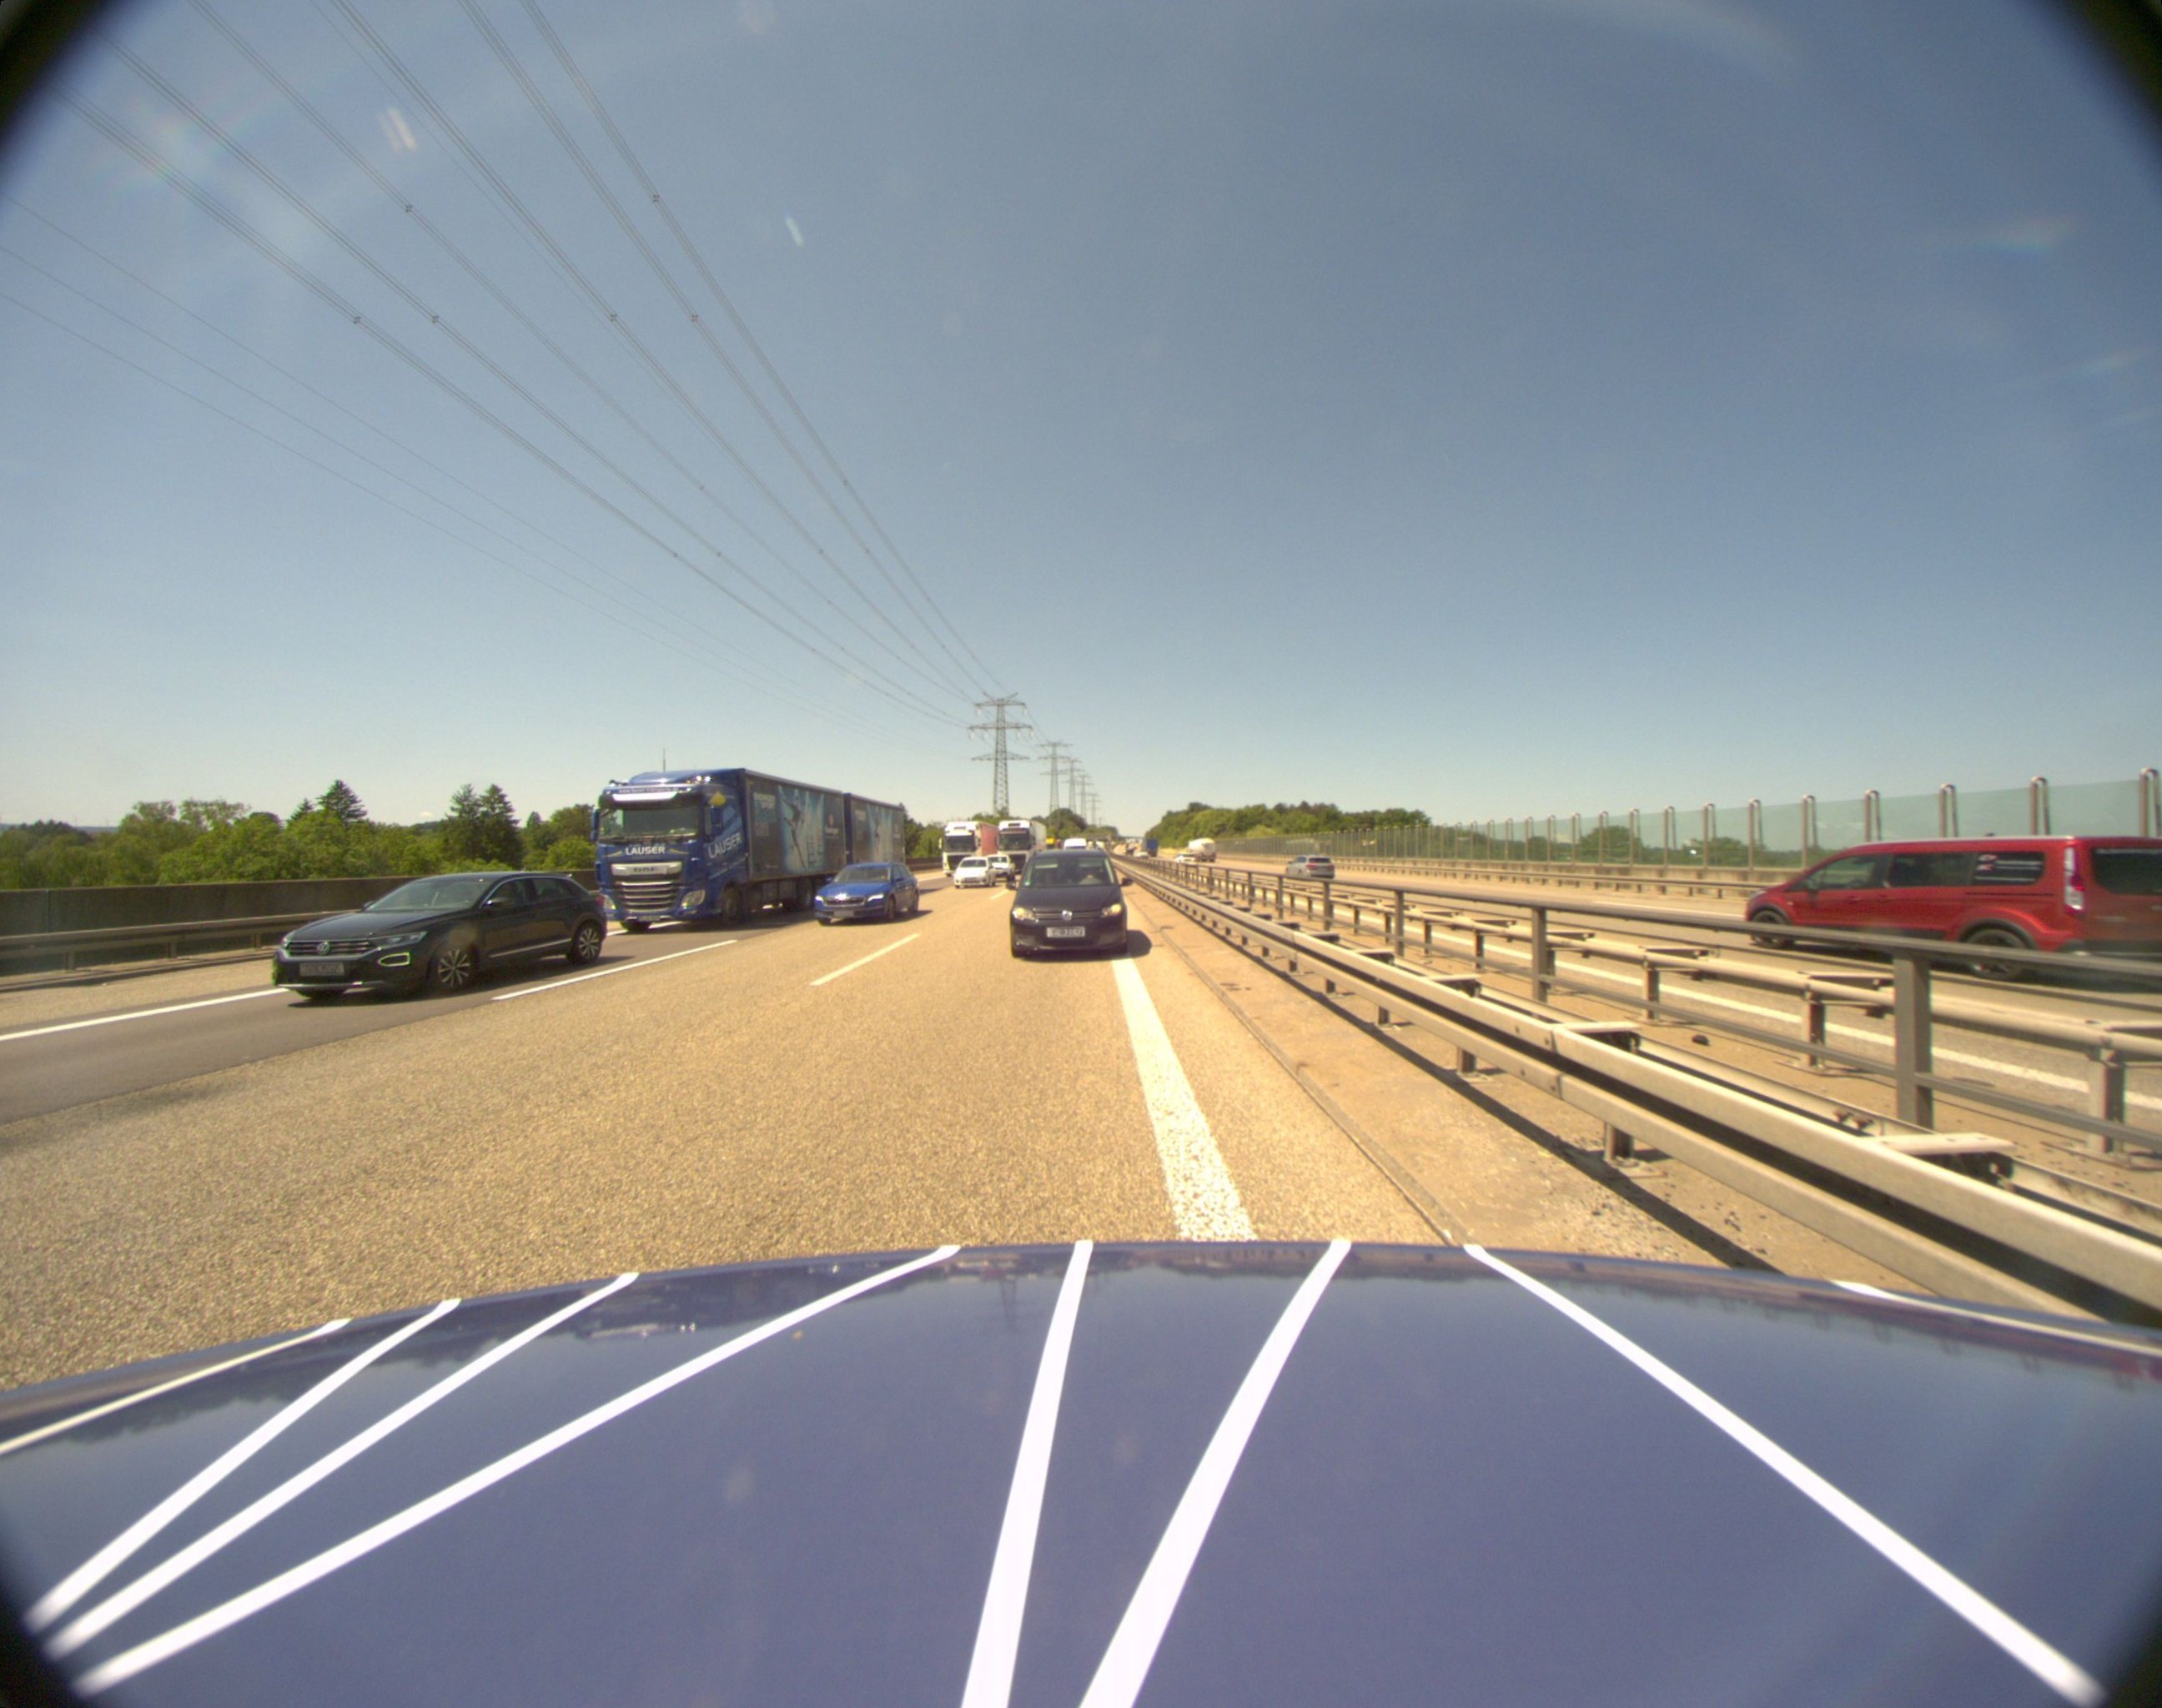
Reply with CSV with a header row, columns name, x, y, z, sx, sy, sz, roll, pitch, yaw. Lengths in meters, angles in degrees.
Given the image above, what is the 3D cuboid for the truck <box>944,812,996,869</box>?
name,x,y,z,sx,sy,sz,roll,pitch,yaw
truck,-8.422,-1.025,58.463,2.608,3.965,8.263,-2,1,0

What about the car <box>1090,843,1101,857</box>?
name,x,y,z,sx,sy,sz,roll,pitch,yaw
car,2.276,-0.617,118.131,1.704,2.116,3.999,-2,1,1

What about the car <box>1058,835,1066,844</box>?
name,x,y,z,sx,sy,sz,roll,pitch,yaw
car,-4.715,-3.592,185.562,1.704,2.116,3.999,2,1,1

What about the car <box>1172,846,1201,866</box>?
name,x,y,z,sx,sy,sz,roll,pitch,yaw
car,8.802,0.163,63.645,1.876,1.521,3.608,4,1,0

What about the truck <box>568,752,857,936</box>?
name,x,y,z,sx,sy,sz,roll,pitch,yaw
truck,-9.605,-0.304,21.862,2.859,3.927,10.393,-2,1,1

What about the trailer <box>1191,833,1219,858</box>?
name,x,y,z,sx,sy,sz,roll,pitch,yaw
trailer,18.287,-1.271,112.894,2.505,3.520,10.901,0,1,1

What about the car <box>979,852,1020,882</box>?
name,x,y,z,sx,sy,sz,roll,pitch,yaw
car,-4.591,0.719,43.309,1.712,1.501,4.144,-2,1,1

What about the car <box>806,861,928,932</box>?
name,x,y,z,sx,sy,sz,roll,pitch,yaw
car,-5.353,0.986,19.635,1.712,1.443,4.563,-2,1,1

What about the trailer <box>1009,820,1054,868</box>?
name,x,y,z,sx,sy,sz,roll,pitch,yaw
trailer,-4.190,-0.914,66.682,2.822,3.830,9.085,-2,1,2

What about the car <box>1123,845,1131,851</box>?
name,x,y,z,sx,sy,sz,roll,pitch,yaw
car,13.340,-1.779,221.017,1.886,1.543,4.188,-2,1,-1

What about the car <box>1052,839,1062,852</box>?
name,x,y,z,sx,sy,sz,roll,pitch,yaw
car,-5.009,-1.789,158.336,1.704,2.525,3.999,2,1,1

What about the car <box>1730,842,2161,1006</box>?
name,x,y,z,sx,sy,sz,roll,pitch,yaw
car,12.208,0.738,10.815,1.844,1.812,4.746,0,1,0

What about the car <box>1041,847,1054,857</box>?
name,x,y,z,sx,sy,sz,roll,pitch,yaw
car,-5.748,-0.384,129.699,1.924,1.501,3.996,-2,1,1

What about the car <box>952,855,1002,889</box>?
name,x,y,z,sx,sy,sz,roll,pitch,yaw
car,-5.019,0.830,37.171,1.712,1.443,4.144,-2,1,1

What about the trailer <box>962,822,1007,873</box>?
name,x,y,z,sx,sy,sz,roll,pitch,yaw
trailer,-8.390,-0.606,67.195,2.608,4.094,9.083,-2,1,0

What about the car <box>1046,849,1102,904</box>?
name,x,y,z,sx,sy,sz,roll,pitch,yaw
car,-0.201,0.706,26.147,1.713,1.669,3.931,-2,1,1

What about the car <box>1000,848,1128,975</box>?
name,x,y,z,sx,sy,sz,roll,pitch,yaw
car,-0.216,0.794,12.552,1.713,1.669,3.931,-2,1,1

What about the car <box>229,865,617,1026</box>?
name,x,y,z,sx,sy,sz,roll,pitch,yaw
car,-8.717,1.068,10.671,1.712,1.645,4.117,-2,1,1

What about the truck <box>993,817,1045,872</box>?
name,x,y,z,sx,sy,sz,roll,pitch,yaw
truck,-4.585,-0.773,57.988,2.849,3.804,8.264,-2,1,2

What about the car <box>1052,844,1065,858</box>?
name,x,y,z,sx,sy,sz,roll,pitch,yaw
car,-3.319,-0.459,113.061,1.704,2.116,3.999,2,1,1

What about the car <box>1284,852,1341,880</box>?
name,x,y,z,sx,sy,sz,roll,pitch,yaw
car,12.843,0.621,42.424,1.876,1.434,4.384,1,1,0

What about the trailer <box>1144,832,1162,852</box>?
name,x,y,z,sx,sy,sz,roll,pitch,yaw
trailer,15.589,-2.589,164.505,2.711,4.142,12.047,0,1,0

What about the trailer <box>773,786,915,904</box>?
name,x,y,z,sx,sy,sz,roll,pitch,yaw
trailer,-9.393,-0.394,31.388,2.835,4.066,8.636,-2,1,1

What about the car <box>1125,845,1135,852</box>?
name,x,y,z,sx,sy,sz,roll,pitch,yaw
car,11.574,-1.351,179.912,1.886,1.543,4.188,-2,1,-1

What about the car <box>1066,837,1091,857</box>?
name,x,y,z,sx,sy,sz,roll,pitch,yaw
car,-0.172,-0.567,62.151,1.924,1.501,3.996,-2,1,1

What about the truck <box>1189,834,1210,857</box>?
name,x,y,z,sx,sy,sz,roll,pitch,yaw
truck,18.387,-1.373,118.600,2.527,3.515,5.329,0,1,1

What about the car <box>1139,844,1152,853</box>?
name,x,y,z,sx,sy,sz,roll,pitch,yaw
car,11.103,-0.964,130.816,1.811,1.630,3.999,1,1,-1
